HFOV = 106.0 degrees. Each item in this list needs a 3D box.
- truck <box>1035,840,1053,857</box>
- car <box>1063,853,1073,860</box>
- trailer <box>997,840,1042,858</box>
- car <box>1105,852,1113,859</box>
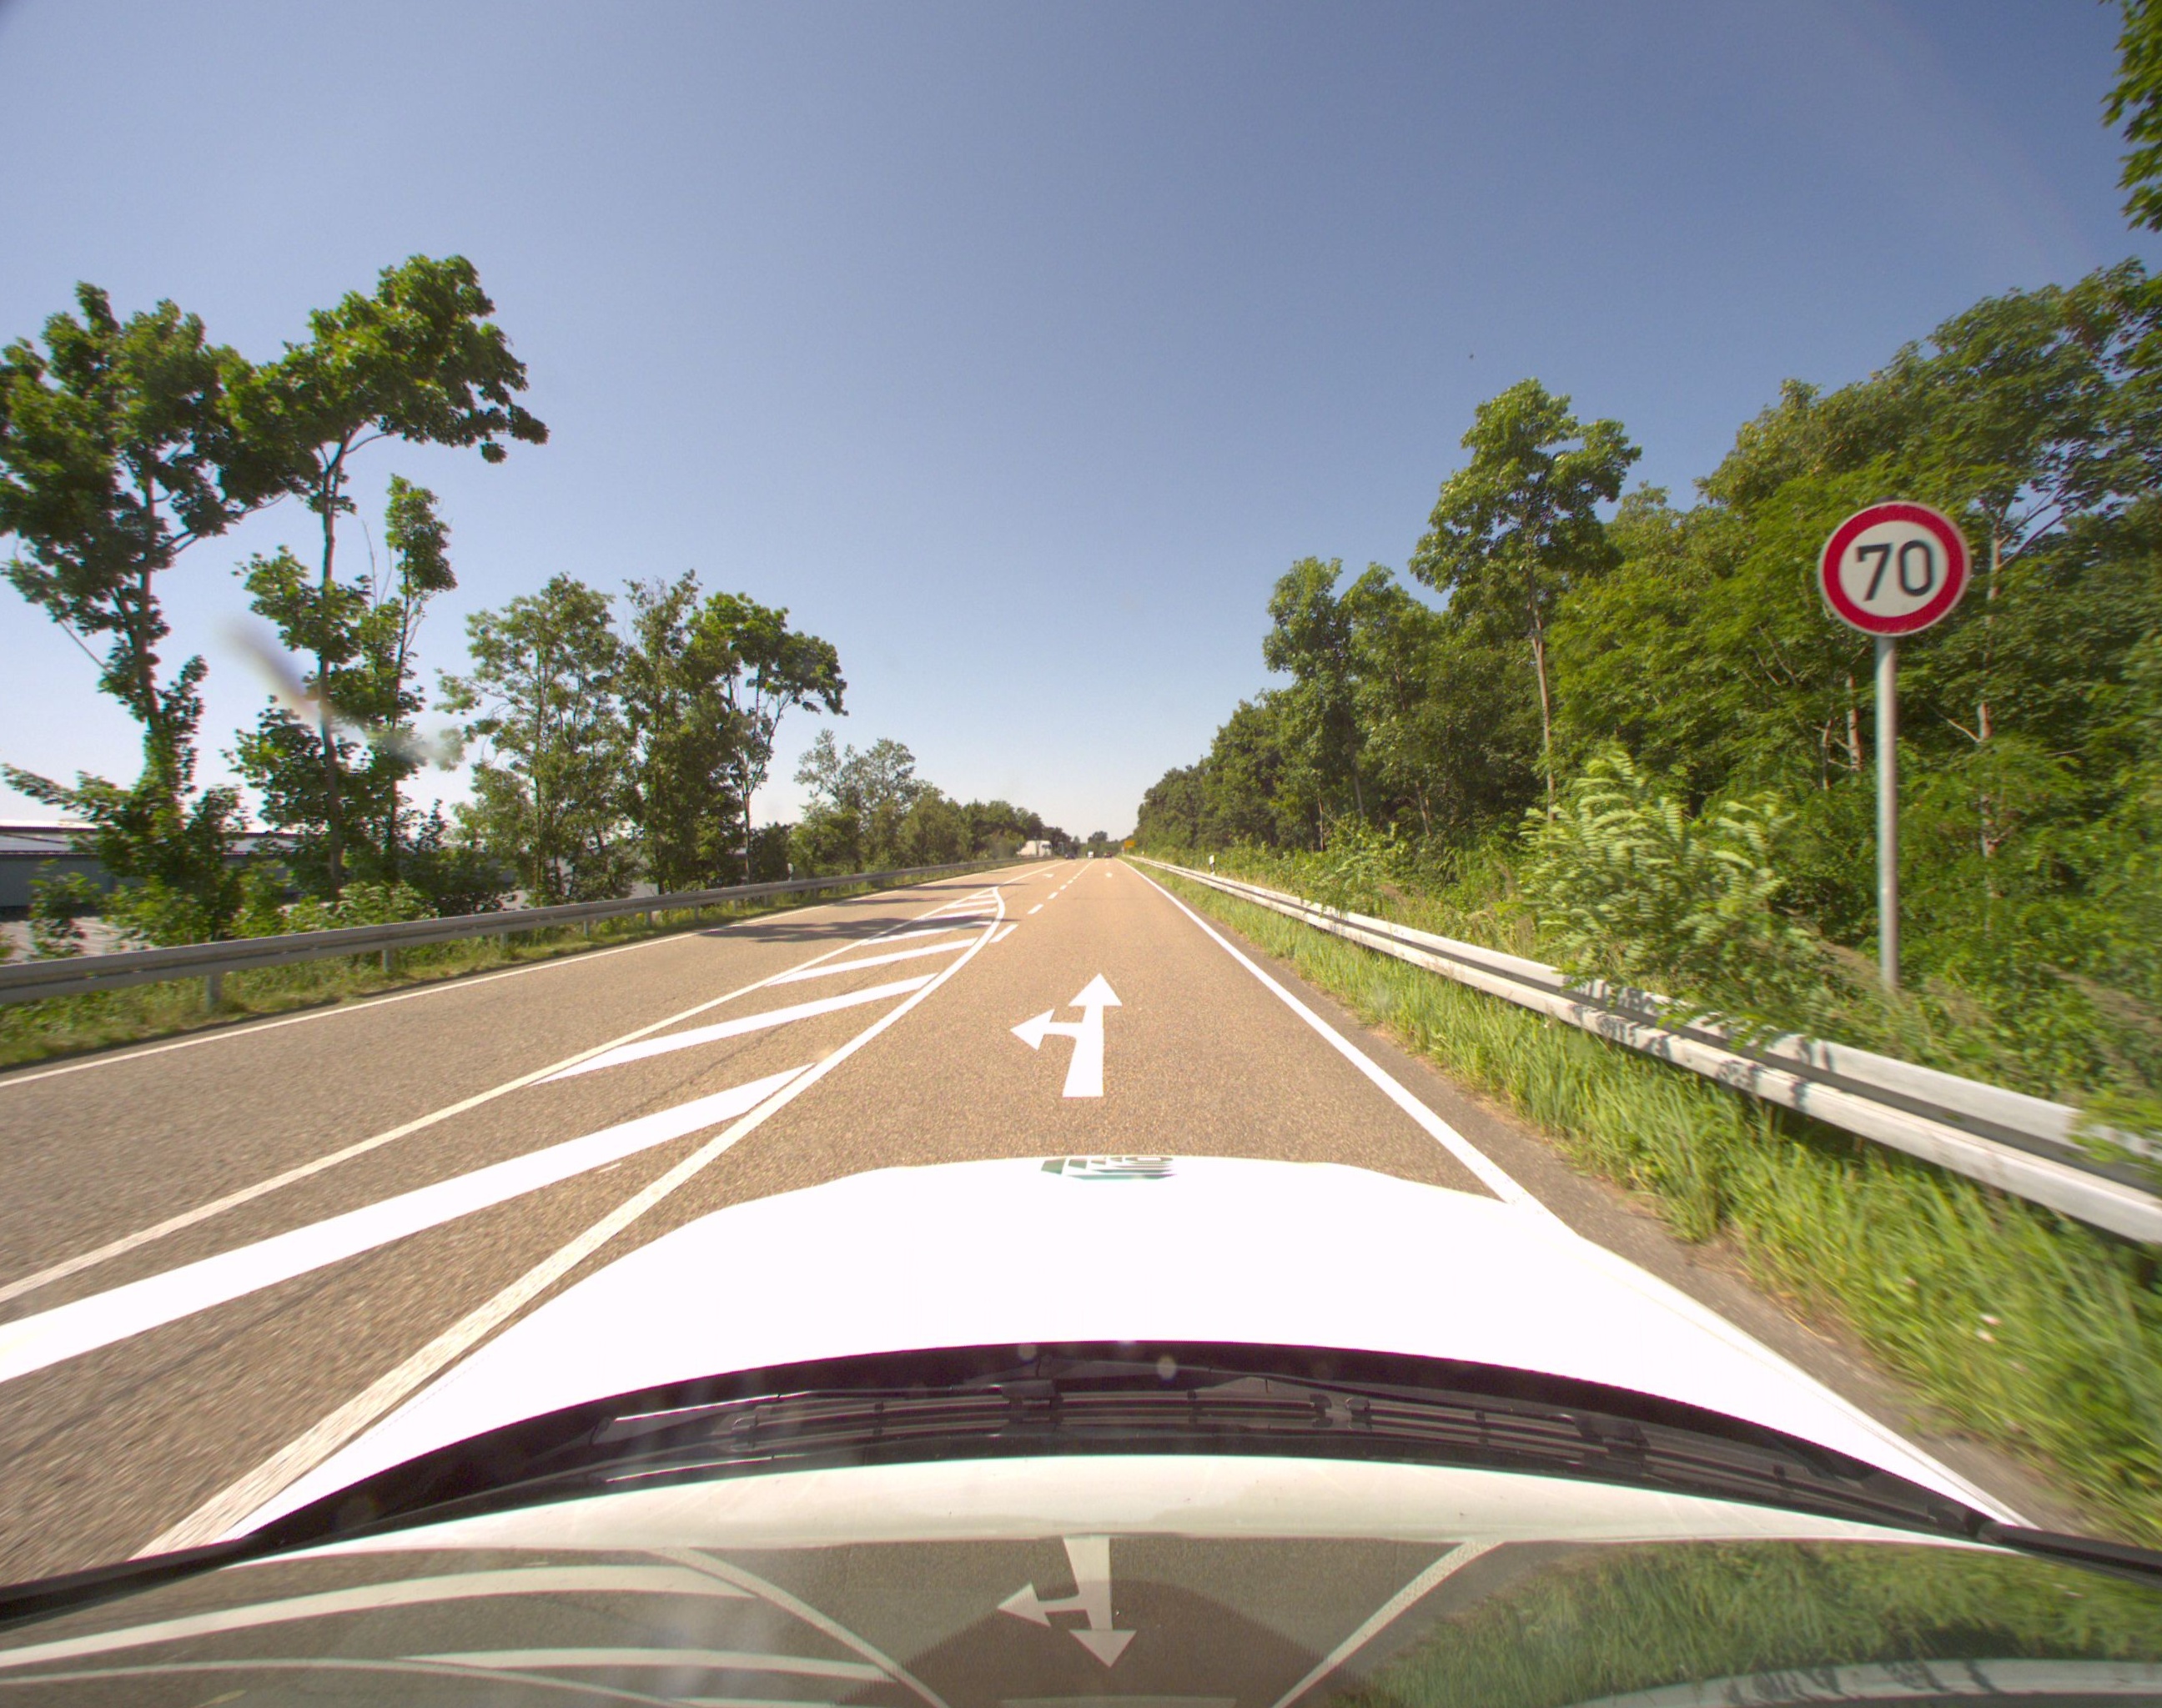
[{"bbox_3d":[-7.602,-1.121,167.960,3.451,3.537,2.002,-1,0,3],"label":"truck"},{"bbox_3d":[-2.504,0.404,154.562,1.724,1.267,3.907,-1,0,2],"label":"car"},{"bbox_3d":[-12.661,-1.036,168.217,9.064,3.578,2.002,-1,0,3],"label":"trailer"},{"bbox_3d":[6.542,0.374,189.585,1.734,1.470,3.694,-1,0,2],"label":"car"}]
